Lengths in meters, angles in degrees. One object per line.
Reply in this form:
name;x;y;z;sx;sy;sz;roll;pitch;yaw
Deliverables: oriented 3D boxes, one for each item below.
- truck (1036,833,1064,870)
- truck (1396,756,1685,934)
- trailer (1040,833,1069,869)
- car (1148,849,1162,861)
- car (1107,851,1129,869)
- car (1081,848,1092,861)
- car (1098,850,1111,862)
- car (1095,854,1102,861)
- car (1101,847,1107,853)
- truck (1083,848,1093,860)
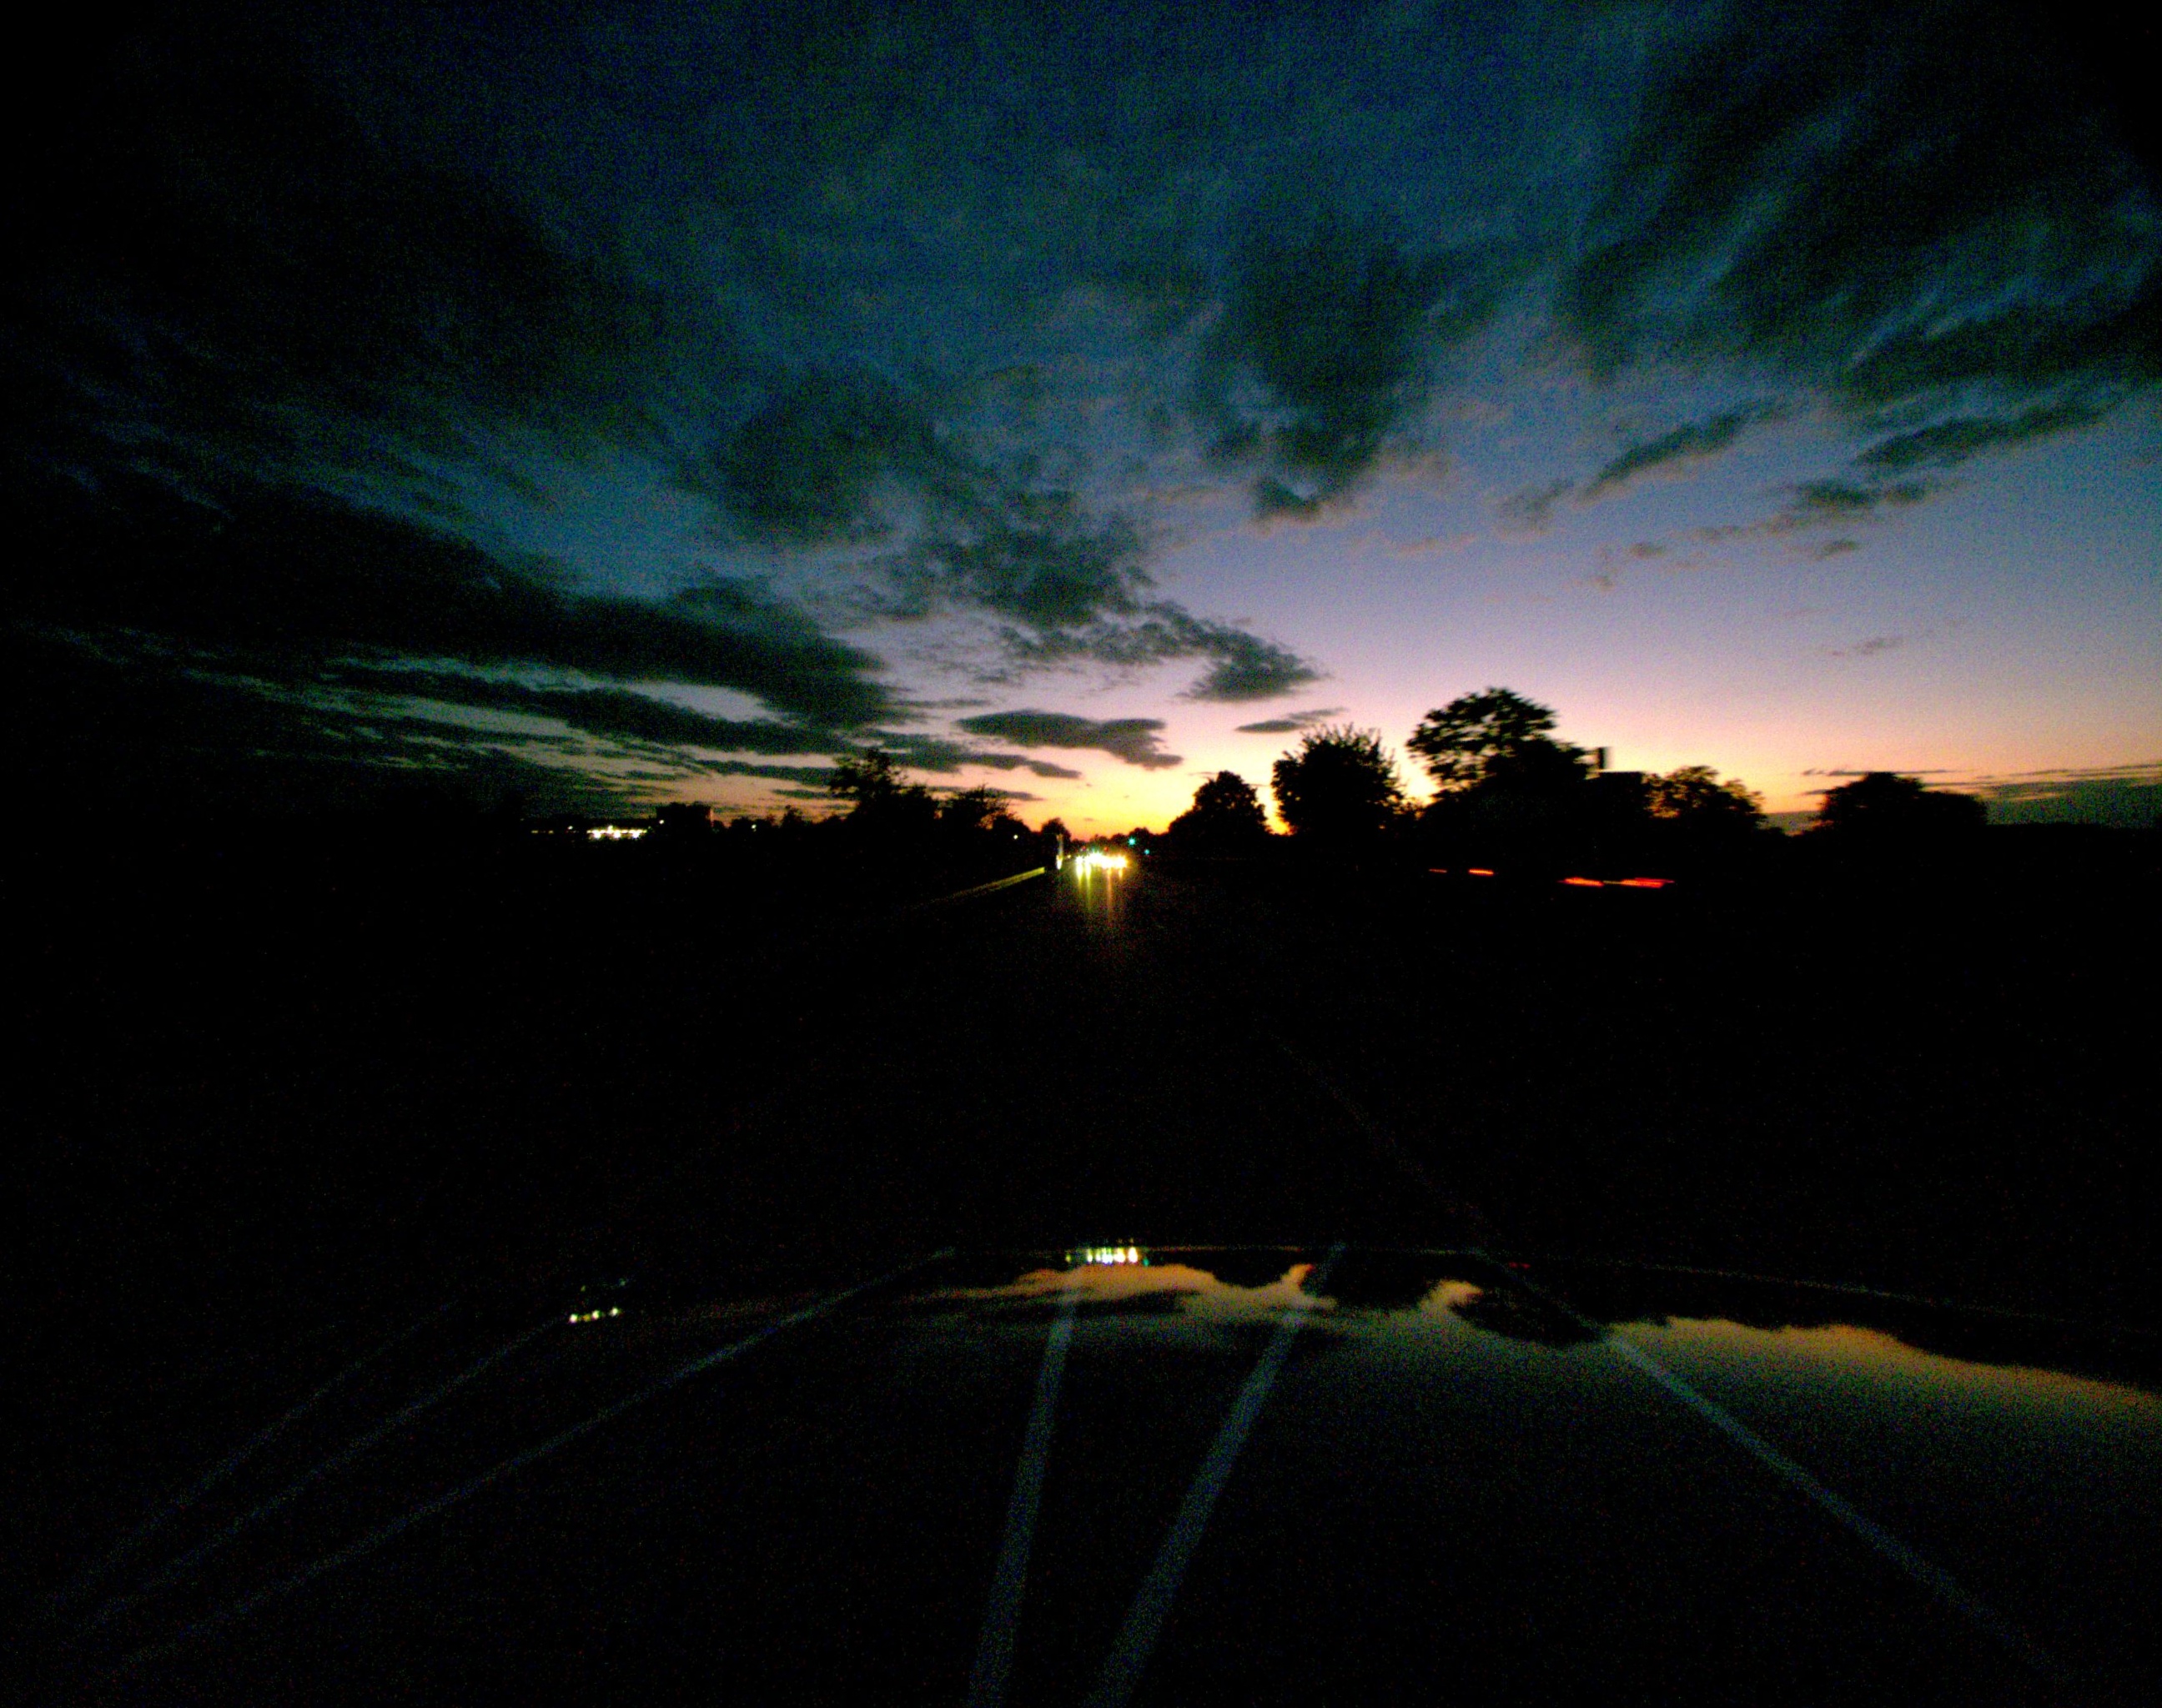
truck;-3.274;-0.306;82.173;2.490;3.778;5.498;-2;1;2
truck;16.182;-0.320;28.742;3.210;5.225;12.607;1;1;0
trailer;-3.006;-0.378;89.935;2.474;3.789;12.671;-2;0;2
car;14.024;0.216;144.184;1.970;2.087;5.346;-2;0;0
car;3.736;0.581;77.262;1.998;1.635;4.296;-2;0;0
car;0.827;0.016;122.569;1.741;2.002;4.000;-2;0;0
car;3.781;0.325;123.588;1.998;1.778;4.000;-2;1;1
car;5.514;0.987;236.669;1.998;2.002;4.000;-2;1;2
car;7.978;-1.284;260.790;1.999;2.002;3.999;-2;1;0
truck;2.282;0.017;241.121;3.016;3.674;9.057;-2;0;0
